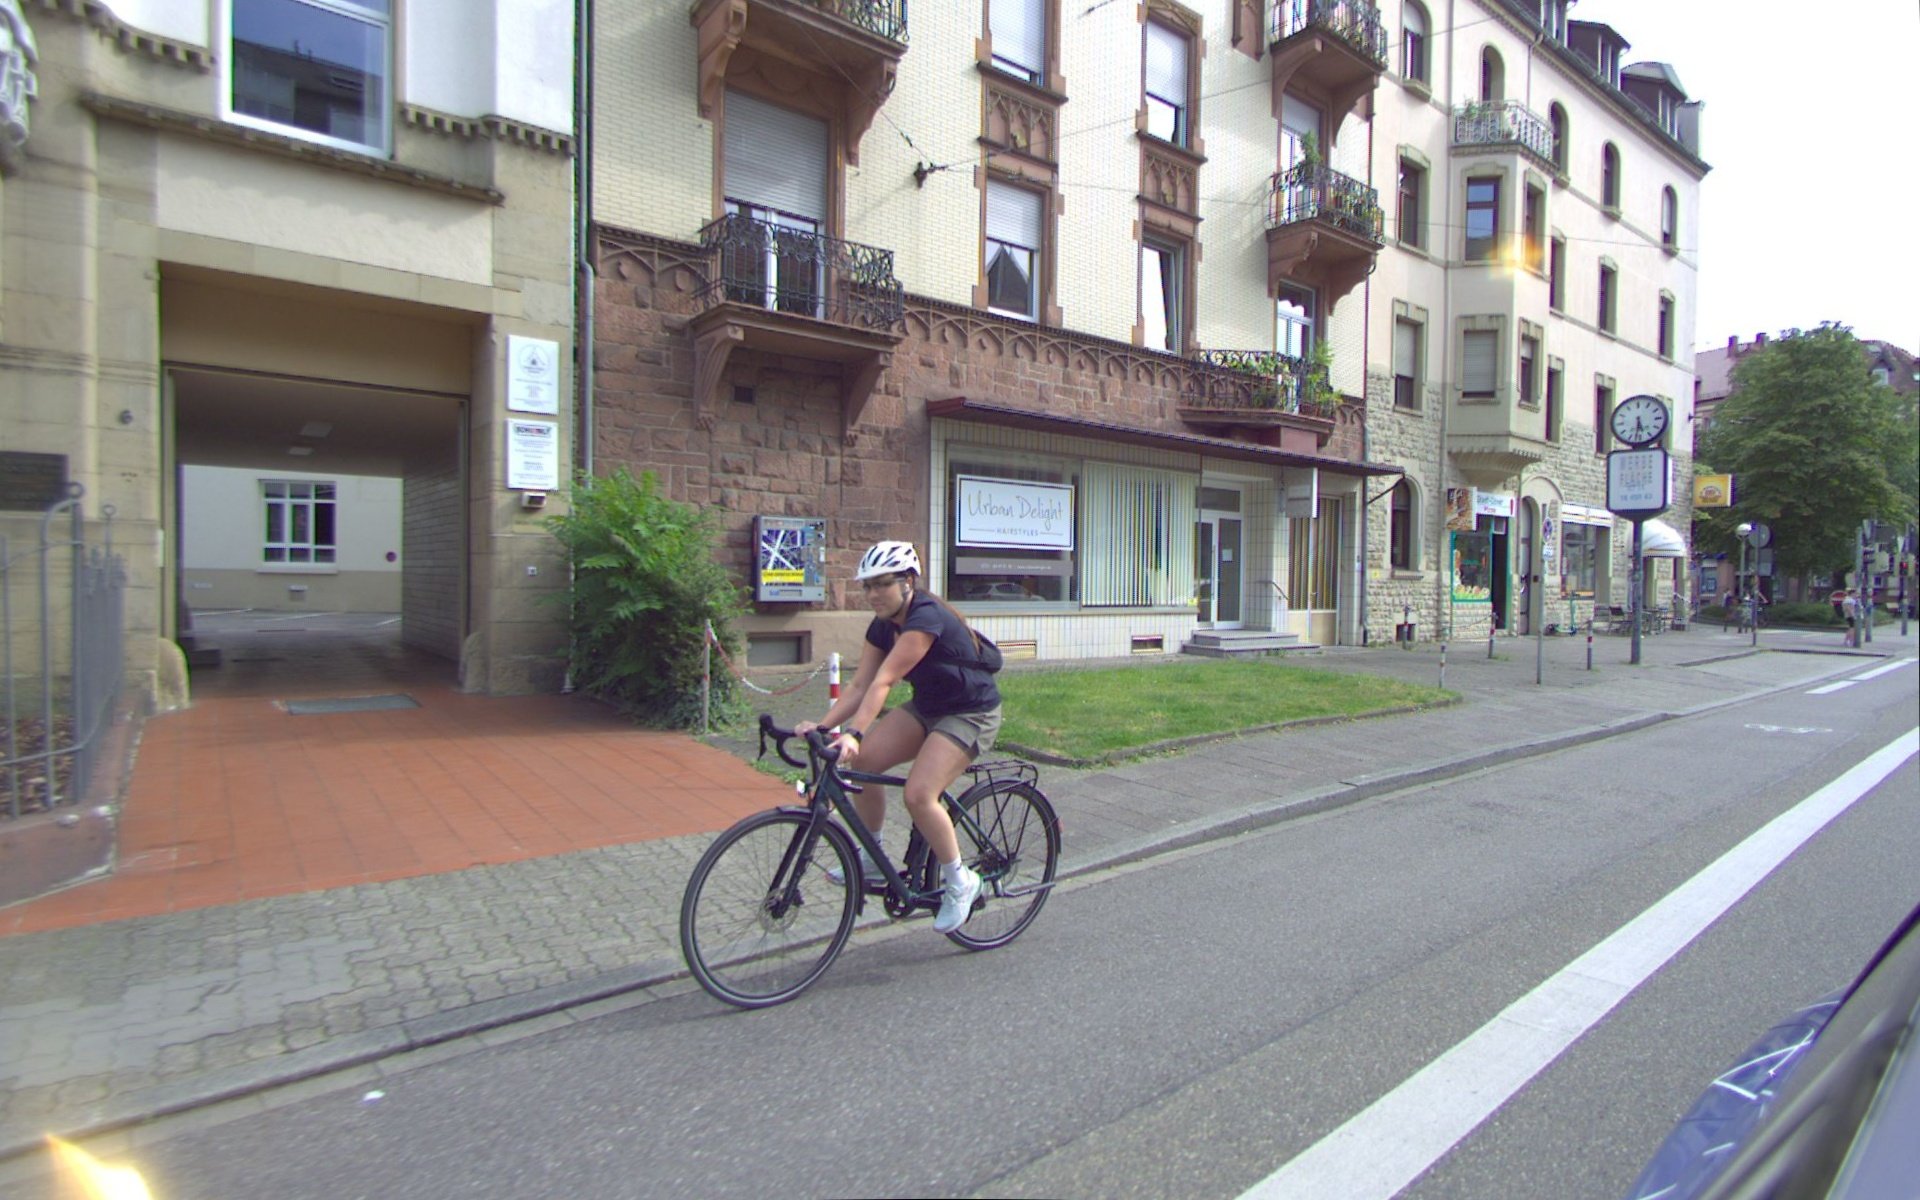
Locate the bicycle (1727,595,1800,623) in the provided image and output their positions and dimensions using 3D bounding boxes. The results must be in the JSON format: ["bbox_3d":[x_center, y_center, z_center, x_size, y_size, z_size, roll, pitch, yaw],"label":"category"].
[{"bbox_3d":[32.769,0.337,41.343,0.871,1.058,3.091,1,1,8],"label":"bicycle"}]

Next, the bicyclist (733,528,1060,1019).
[{"bbox_3d":[-0.228,0.558,3.877,1.091,1.590,0.639,0,0,-40],"label":"bicyclist"}]

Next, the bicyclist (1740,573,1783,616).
[{"bbox_3d":[32.787,-0.221,41.407,0.825,1.711,1.244,1,0,8],"label":"bicyclist"}]

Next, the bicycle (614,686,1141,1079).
[{"bbox_3d":[-0.211,0.908,3.886,2.035,0.993,0.639,0,0,-41],"label":"bicycle"}]

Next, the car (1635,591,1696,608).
[{"bbox_3d":[53.855,-0.074,77.343,1.702,1.282,3.597,0,0,-14],"label":"car"}]

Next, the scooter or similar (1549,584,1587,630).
[{"bbox_3d":[16.175,0.171,26.922,1.174,1.182,0.398,0,3,-38],"label":"scooter or similar"}]

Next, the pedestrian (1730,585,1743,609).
[{"bbox_3d":[56.273,-0.199,73.339,0.630,1.715,0.611,0,1,-43],"label":"pedestrian"}]

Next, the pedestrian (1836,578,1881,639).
[{"bbox_3d":[25.671,0.234,28.917,0.746,1.680,0.721,0,5,-42],"label":"pedestrian"}]
